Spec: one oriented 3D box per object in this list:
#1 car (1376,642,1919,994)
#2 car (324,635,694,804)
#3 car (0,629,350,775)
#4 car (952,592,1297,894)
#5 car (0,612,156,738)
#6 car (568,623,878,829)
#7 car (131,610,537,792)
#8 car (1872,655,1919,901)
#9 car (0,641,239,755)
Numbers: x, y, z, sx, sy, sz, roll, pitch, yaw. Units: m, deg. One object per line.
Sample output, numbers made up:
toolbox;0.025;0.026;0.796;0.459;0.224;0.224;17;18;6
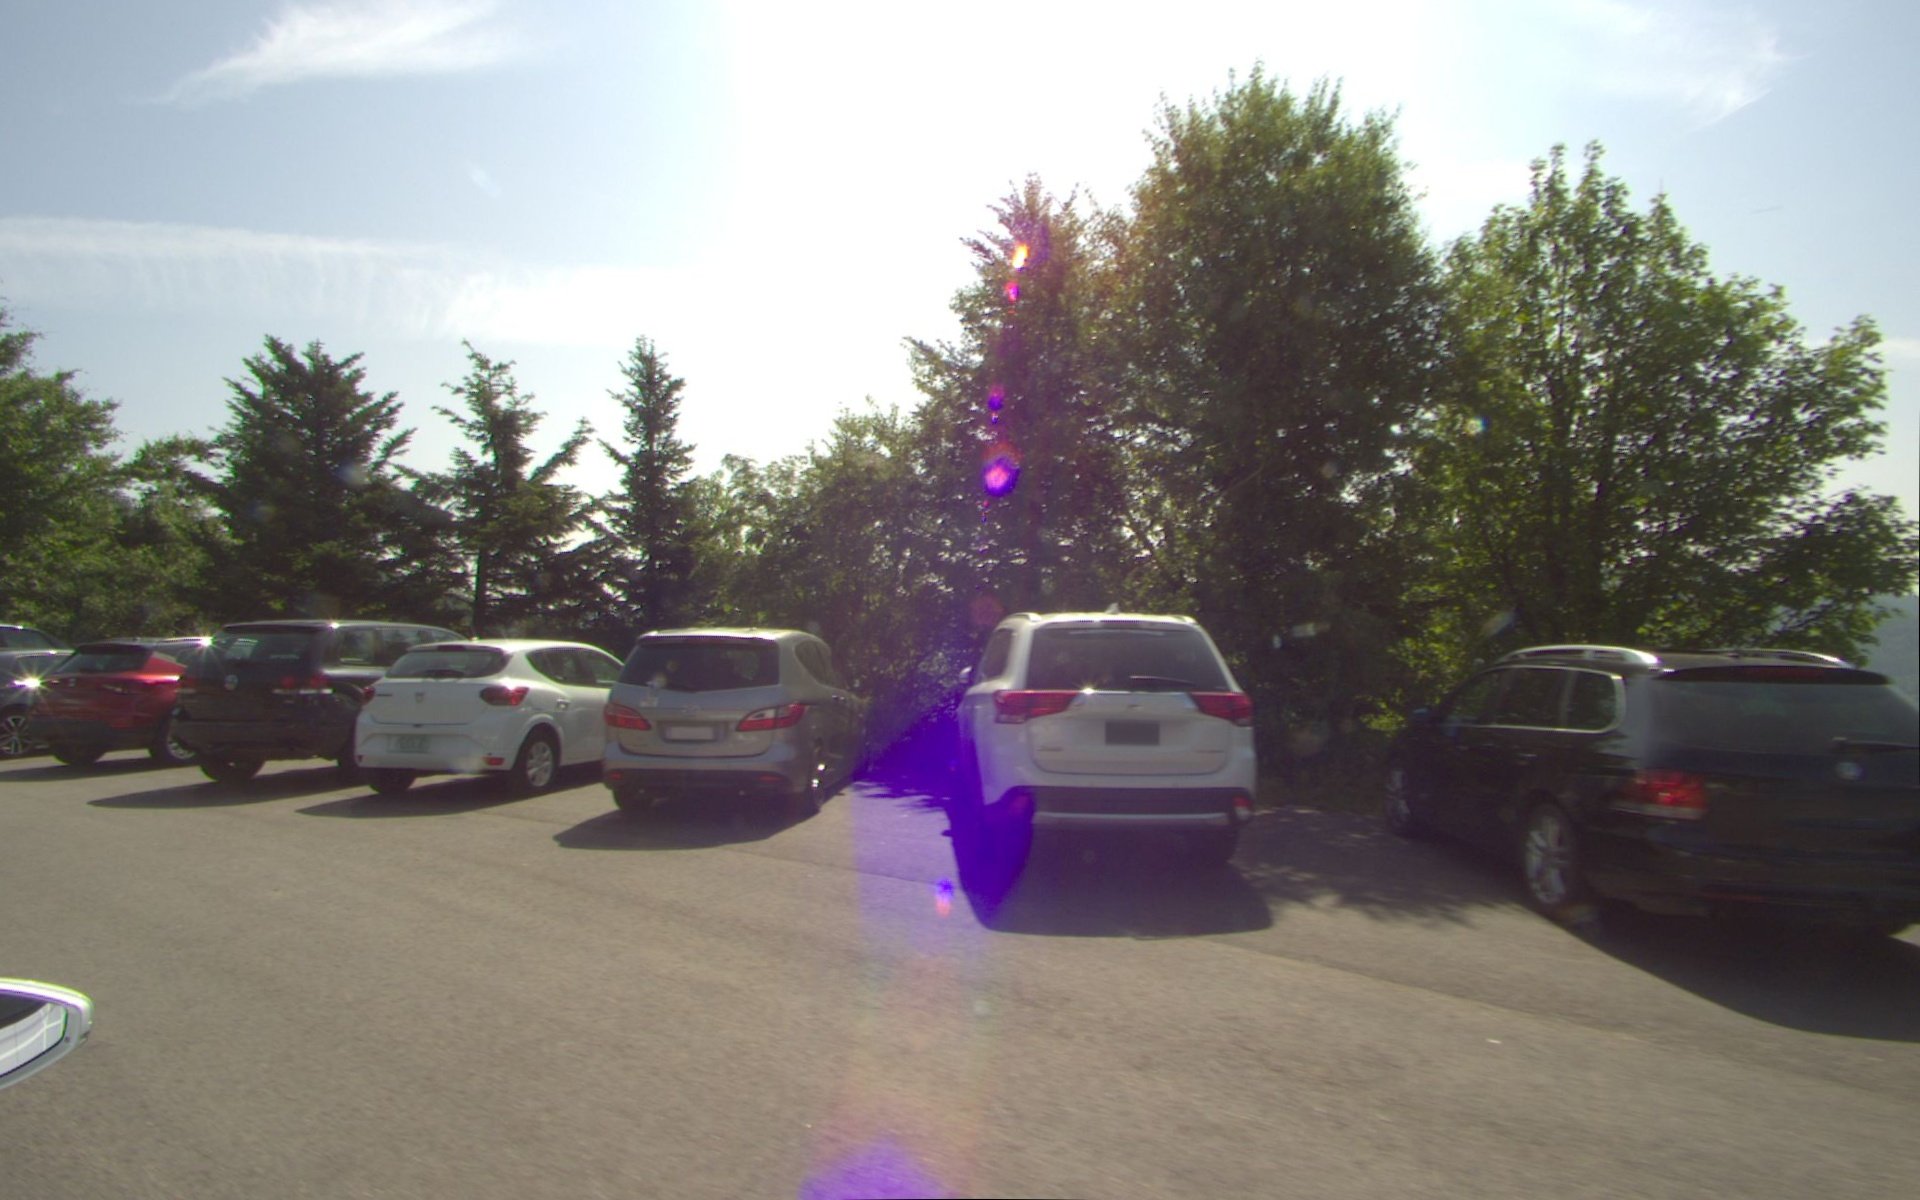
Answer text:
car;4.199;1.053;6.303;1.858;1.479;4.055;1;-3;6
car;-4.606;1.181;10.981;1.734;1.494;4.002;0;-3;10
car;-10.163;1.260;13.244;1.827;1.609;4.003;1;-3;-3
car;0.943;0.919;7.884;1.827;1.716;4.229;1;-2;-3
car;-15.565;1.132;15.353;1.930;1.903;4.771;0;-3;16
car;-2.024;1.090;9.827;1.785;1.568;4.003;1;-3;5
car;-6.955;1.097;11.815;1.952;1.715;4.277;1;-3;2
car;6.269;0.991;4.400;1.631;1.477;3.807;1;-3;12
car;-12.656;1.309;14.134;1.711;1.432;4.003;0;-3;7
